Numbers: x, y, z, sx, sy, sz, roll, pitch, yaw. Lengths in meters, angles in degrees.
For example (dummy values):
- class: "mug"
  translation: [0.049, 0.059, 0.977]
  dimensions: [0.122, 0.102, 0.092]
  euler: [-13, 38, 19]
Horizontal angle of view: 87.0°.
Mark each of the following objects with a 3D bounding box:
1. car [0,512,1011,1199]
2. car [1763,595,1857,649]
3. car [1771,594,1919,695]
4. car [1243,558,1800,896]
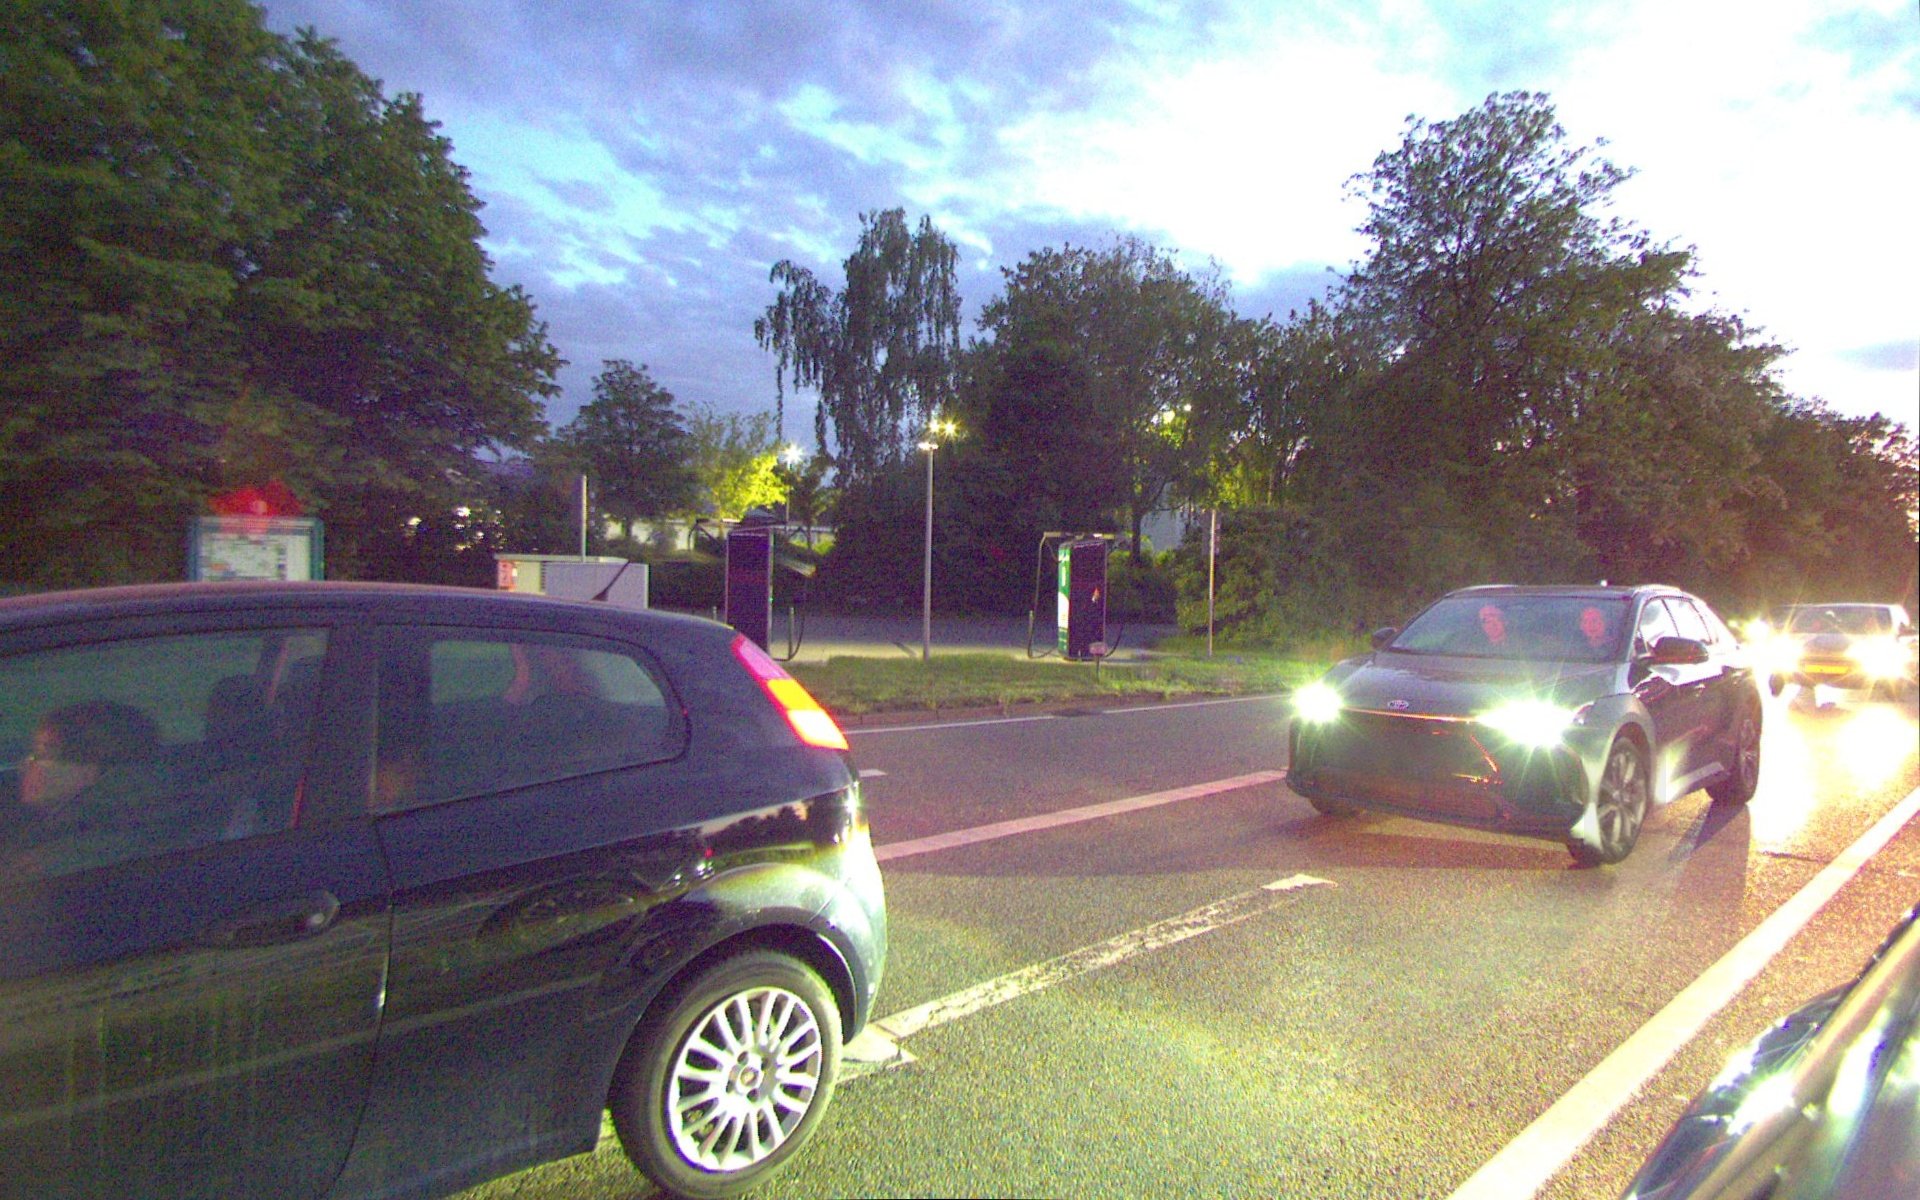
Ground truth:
- class: "car"
  translation: [-1.936, 0.620, 2.295]
  dimensions: [4.032, 1.540, 1.674]
  euler: [0, 1, -39]
- class: "car"
  translation: [25.321, 0.610, 30.101]
  dimensions: [1.918, 1.450, 4.630]
  euler: [1, 1, 43]
- class: "car"
  translation: [14.868, 0.648, 16.731]
  dimensions: [3.803, 1.487, 1.622]
  euler: [0, 0, -41]
- class: "car"
  translation: [4.184, 0.600, 7.162]
  dimensions: [4.629, 1.630, 1.997]
  euler: [0, 0, -41]
